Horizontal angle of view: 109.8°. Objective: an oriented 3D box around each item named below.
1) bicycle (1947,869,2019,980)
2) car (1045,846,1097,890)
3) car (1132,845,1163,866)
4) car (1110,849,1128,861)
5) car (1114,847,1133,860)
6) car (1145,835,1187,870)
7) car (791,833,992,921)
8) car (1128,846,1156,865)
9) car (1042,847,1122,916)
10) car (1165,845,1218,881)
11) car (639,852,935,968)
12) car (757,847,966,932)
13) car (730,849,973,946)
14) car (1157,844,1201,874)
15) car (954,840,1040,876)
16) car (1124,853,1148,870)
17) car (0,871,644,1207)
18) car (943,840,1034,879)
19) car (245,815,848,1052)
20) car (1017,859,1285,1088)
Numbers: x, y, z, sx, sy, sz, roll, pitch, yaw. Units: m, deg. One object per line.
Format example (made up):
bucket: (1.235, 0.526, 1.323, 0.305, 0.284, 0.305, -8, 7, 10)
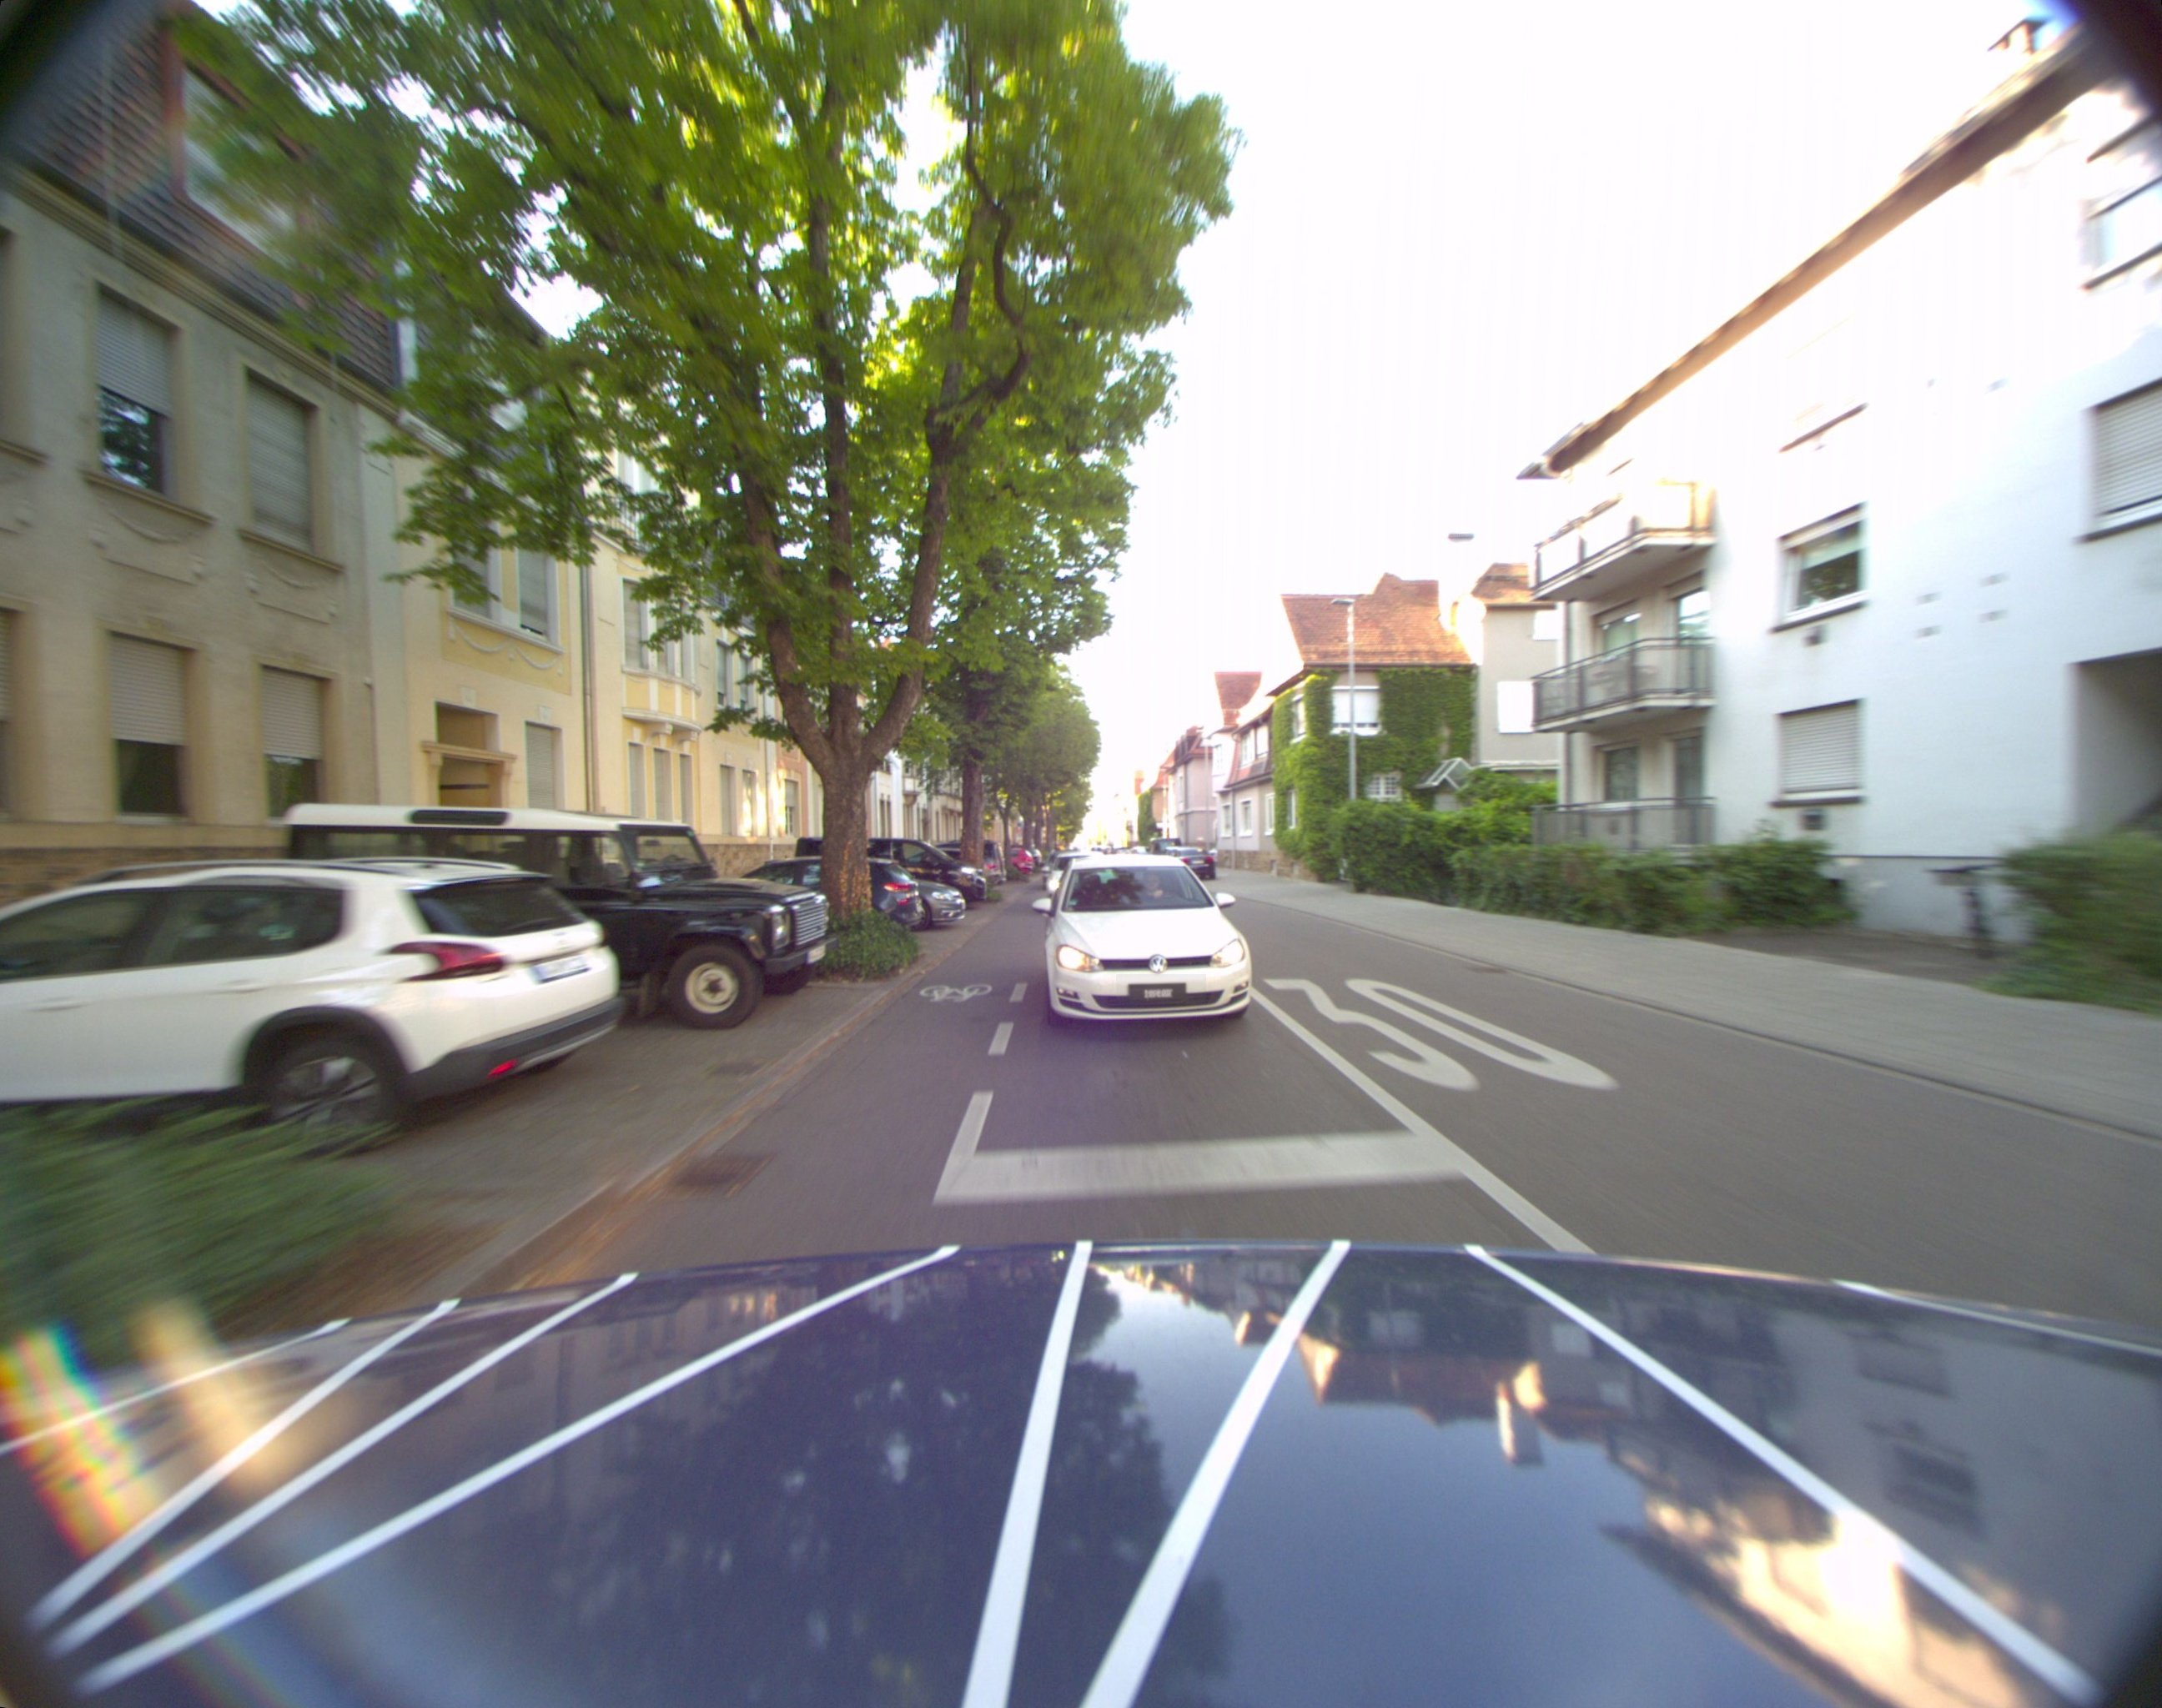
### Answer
bicycle: (10.081, 0.741, 8.519, 1.611, 1.014, 0.475, -5, 4, -41)
car: (-0.382, 0.483, 29.990, 1.843, 1.509, 4.752, -2, 1, -1)
car: (4.850, 0.098, 56.115, 1.821, 1.419, 4.287, -3, 1, -1)
car: (4.755, 0.088, 95.646, 1.821, 1.419, 4.287, -3, 1, -1)
car: (4.935, -0.098, 87.878, 1.821, 1.419, 4.287, -3, 1, -1)
car: (4.908, -0.106, 44.487, 1.821, 1.895, 4.287, -3, 1, -1)
car: (-4.840, 0.553, 19.983, 4.710, 2.002, 1.999, -2, 1, -2)
car: (4.944, 0.104, 61.859, 1.821, 1.419, 4.287, -3, 1, -1)
car: (0.001, 0.639, 19.909, 1.843, 1.509, 4.021, -2, 1, -1)
car: (4.858, 0.342, 33.838, 1.693, 1.445, 3.999, -3, 1, -1)
car: (-4.806, 0.879, 12.954, 4.209, 1.619, 1.972, -2, 1, -2)
car: (-4.917, 0.758, 17.564, 4.209, 1.678, 1.999, -2, 1, -2)
car: (-4.404, 0.803, 15.163, 4.209, 1.598, 1.999, -2, 2, -2)
car: (5.070, 0.216, 39.948, 1.693, 1.445, 3.999, -3, 1, -1)
car: (-4.803, 0.208, 44.048, 4.710, 1.863, 1.999, -2, 1, -2)
car: (5.022, 0.661, 69.576, 1.821, 1.419, 4.287, -3, 1, -1)
car: (-5.144, 0.930, 4.532, 4.046, 1.566, 1.683, -1, 1, -2)
car: (-4.972, 0.269, 41.395, 4.710, 1.863, 1.999, -2, 1, -2)
car: (-4.769, 0.638, 7.327, 4.432, 1.974, 1.758, -1, 4, -1)
car: (0.474, 0.856, 7.410, 1.843, 1.442, 4.109, -2, 1, -1)
